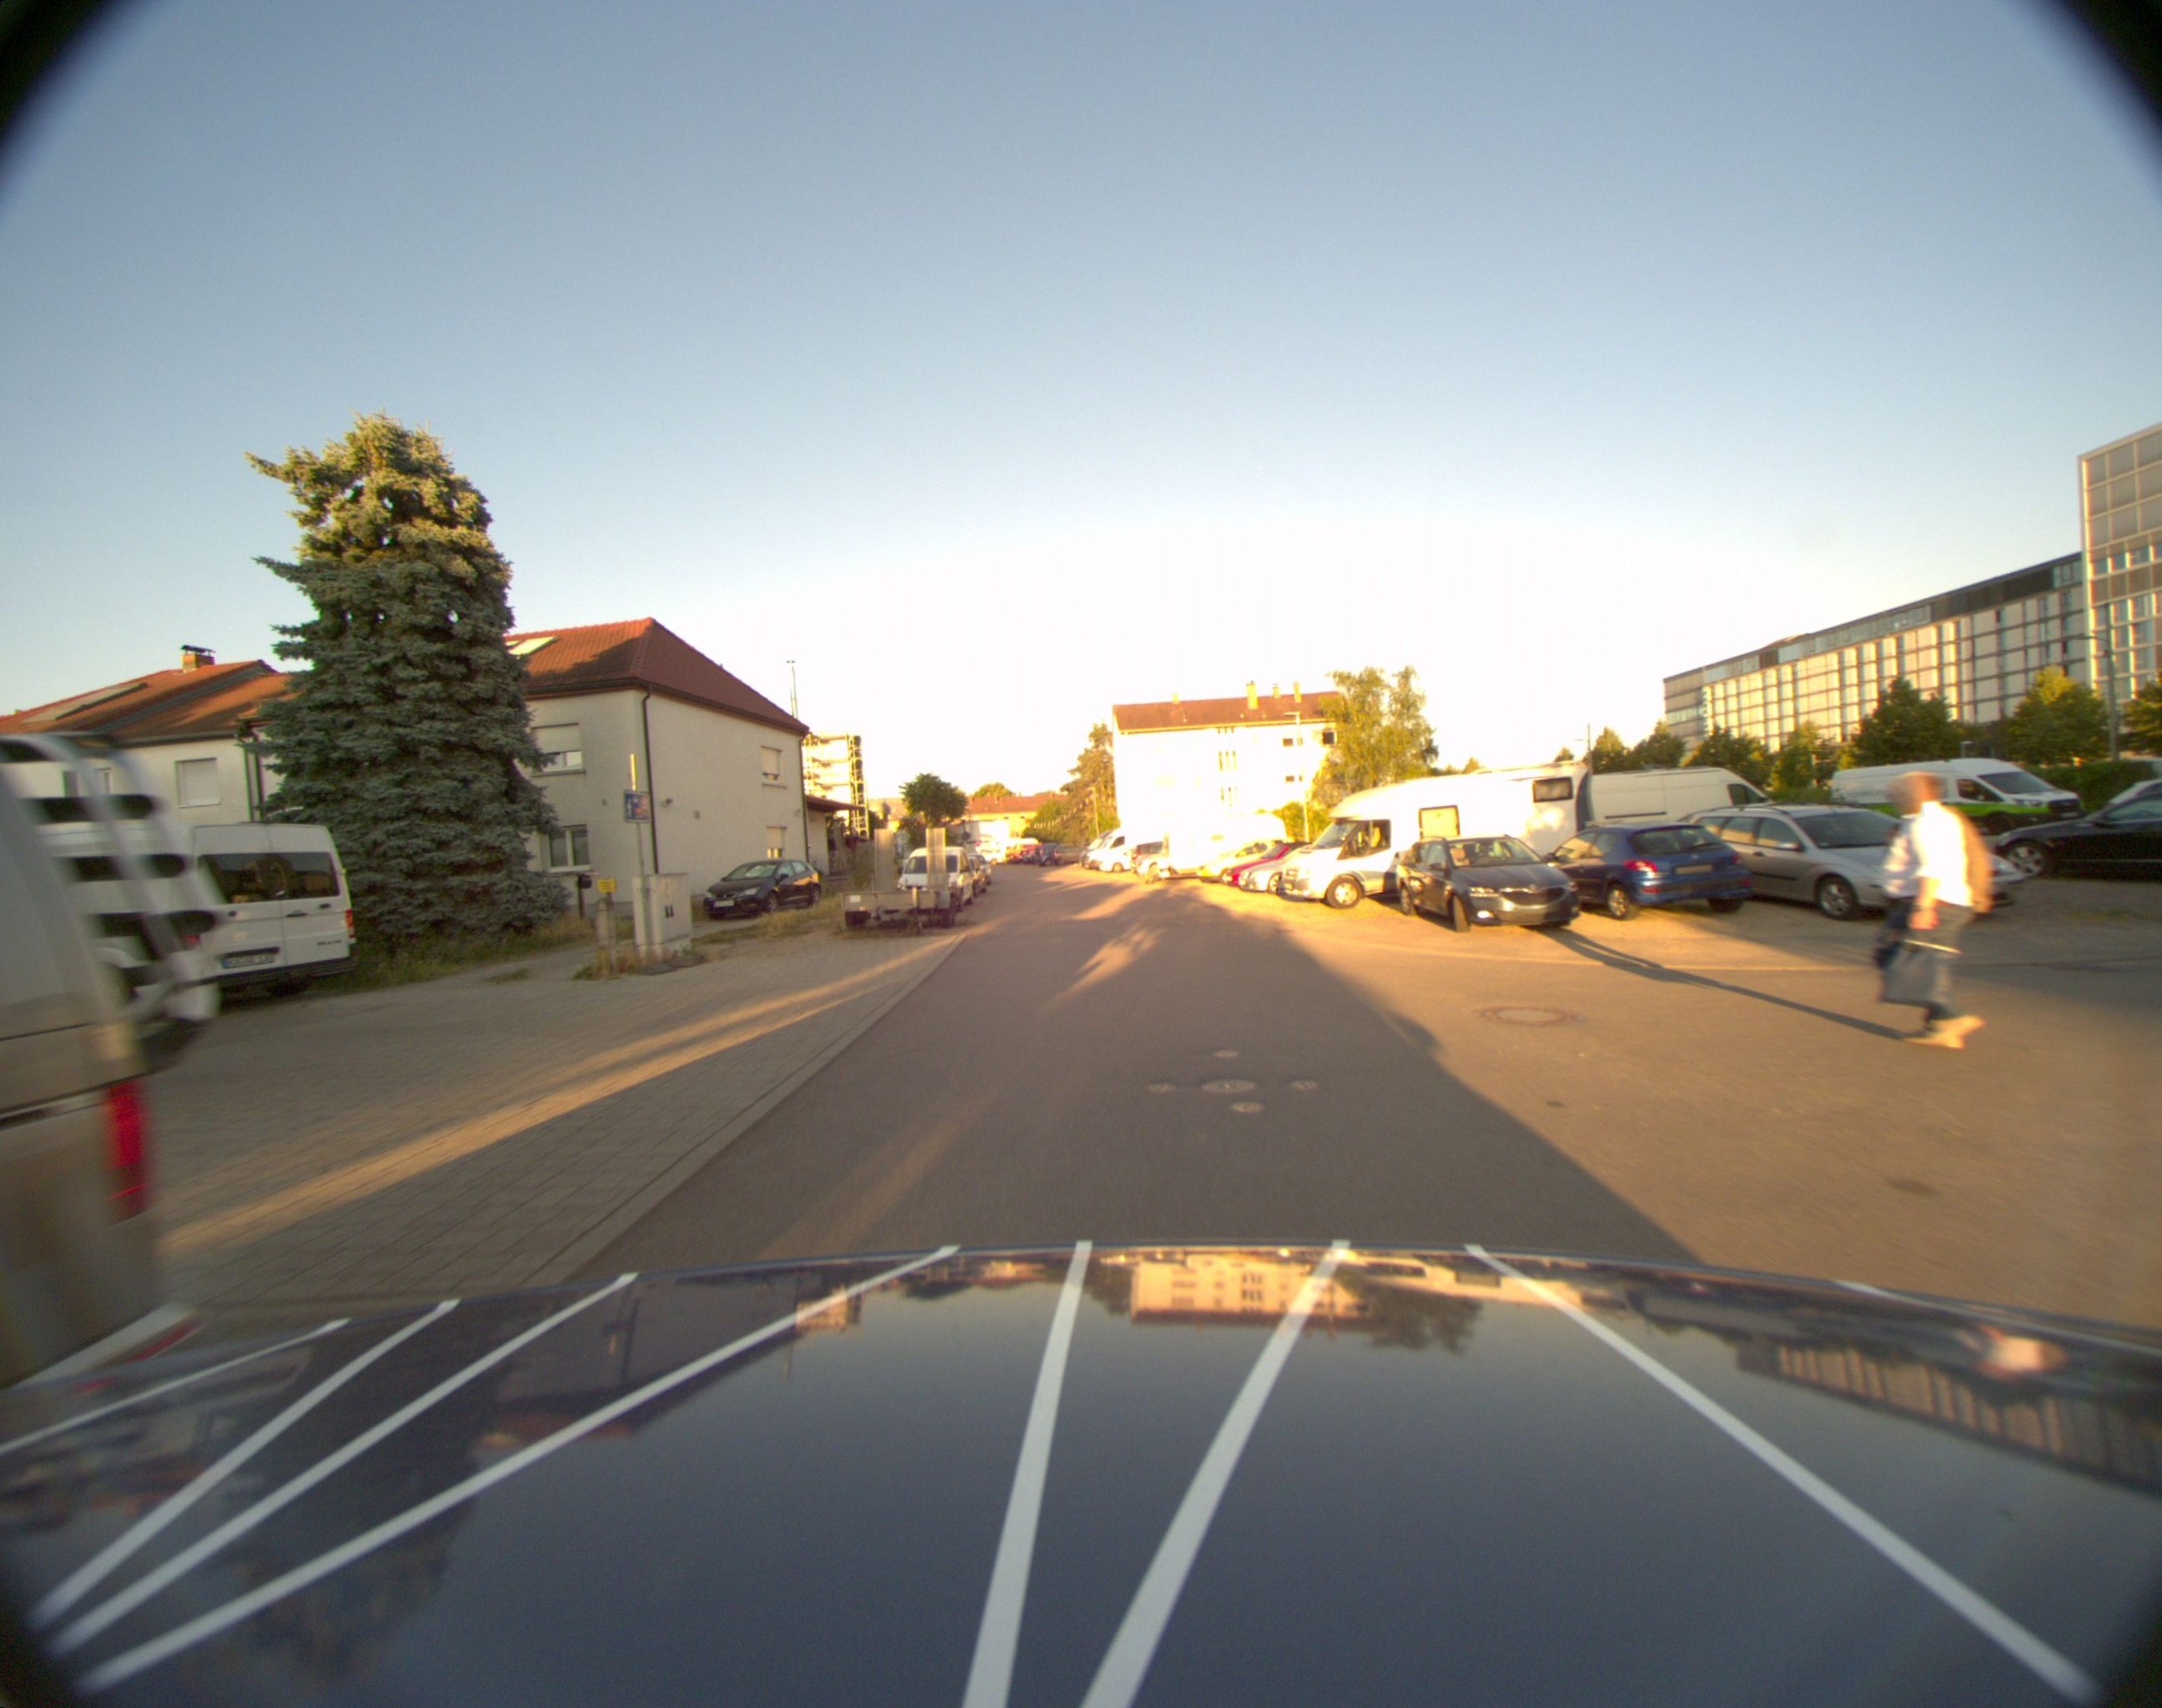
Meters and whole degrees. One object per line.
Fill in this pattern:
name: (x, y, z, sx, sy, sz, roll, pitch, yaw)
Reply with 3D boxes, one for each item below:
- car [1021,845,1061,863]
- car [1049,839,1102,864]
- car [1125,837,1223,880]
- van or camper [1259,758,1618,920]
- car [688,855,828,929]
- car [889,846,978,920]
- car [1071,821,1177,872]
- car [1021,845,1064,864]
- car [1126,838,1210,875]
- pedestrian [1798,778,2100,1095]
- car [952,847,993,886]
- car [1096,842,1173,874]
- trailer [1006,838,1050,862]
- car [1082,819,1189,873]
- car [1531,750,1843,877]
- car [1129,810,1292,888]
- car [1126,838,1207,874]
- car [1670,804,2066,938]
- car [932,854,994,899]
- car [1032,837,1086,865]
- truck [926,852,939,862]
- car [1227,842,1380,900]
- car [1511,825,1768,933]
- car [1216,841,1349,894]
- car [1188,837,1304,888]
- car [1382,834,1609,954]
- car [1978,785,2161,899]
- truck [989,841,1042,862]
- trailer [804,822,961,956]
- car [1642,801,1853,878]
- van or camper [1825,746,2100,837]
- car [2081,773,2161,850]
car: (-4.287, 0.005, 80.208, 4.048, 1.610, 1.848, -4, 1, -6)
car: (-0.466, -0.199, 60.937, 3.937, 1.643, 1.747, -6, 1, -7)
car: (4.314, 0.169, 35.585, 4.139, 1.582, 1.746, -5, 2, -8)
van or camper: (7.738, -0.326, 17.000, 6.758, 2.881, 2.408, -4, 1, -1)
car: (-8.390, 0.915, 20.138, 1.639, 1.511, 3.903, -3, 3, 6)
car: (-4.150, 0.741, 22.065, 1.776, 1.821, 4.406, -3, 1, -2)
car: (2.813, -0.540, 50.037, 6.411, 2.698, 2.110, -6, 3, -16)
car: (-3.642, -0.004, 71.676, 3.937, 1.508, 1.642, -4, 2, -6)
car: (4.371, 0.105, 38.517, 3.936, 1.581, 1.748, -4, 1, -1)
pedestrian: (5.532, 0.493, 4.920, 0.901, 1.839, 0.856, -3, 0, 4)
car: (-5.267, 0.567, 36.952, 1.812, 1.714, 4.924, -2, 0, -8)
car: (3.014, 0.183, 43.096, 3.938, 1.499, 1.788, -4, 1, -9)
trailer: (-6.201, -0.478, 88.825, 4.807, 2.419, 2.132, -5, 3, -8)
car: (3.251, -0.486, 45.813, 5.845, 2.697, 2.048, -6, 1, -11)
car: (15.736, -1.017, 20.017, 6.257, 2.658, 2.223, -5, 1, 1)
car: (5.137, -0.224, 30.688, 5.904, 2.520, 2.410, -5, 2, -4)
car: (4.574, 0.091, 40.809, 3.938, 1.582, 1.746, -4, 2, -9)
car: (11.032, 0.119, 11.190, 1.666, 1.472, 4.203, -5, 2, 5)
car: (-4.468, 0.803, 29.286, 1.708, 1.510, 4.087, -3, 1, -1)
car: (-1.837, -0.268, 63.097, 3.941, 1.900, 1.745, -6, 1, -22)
truck: (-32.726, 0.652, 167.533, 1.844, 2.090, 3.734, -6, 2, -22)
car: (6.393, 0.465, 22.038, 3.819, 1.321, 1.692, -5, 1, -6)
car: (8.882, 0.327, 12.518, 1.666, 1.414, 3.722, -4, 1, 5)
car: (6.516, 0.421, 24.741, 3.737, 1.359, 1.704, -5, 1, -8)
car: (5.898, 0.286, 27.367, 3.639, 1.510, 1.704, -5, 1, -8)
car: (6.520, 0.501, 12.550, 1.690, 1.510, 4.362, -5, 1, 7)
car: (15.866, -0.180, 10.604, 1.666, 1.472, 4.403, -5, 4, 4)
truck: (-7.901, -0.286, 91.512, 6.032, 2.031, 2.353, -4, 1, -12)
trailer: (-3.794, 0.589, 15.581, 2.070, 2.199, 5.220, -3, 0, -4)
car: (15.321, -0.331, 17.583, 3.447, 1.439, 1.514, -5, 1, 1)
van or camper: (31.146, -2.041, 27.362, 2.020, 2.675, 6.638, -5, 1, 0)
car: (22.169, -0.889, 14.028, 1.666, 1.490, 4.406, -5, 0, 4)
